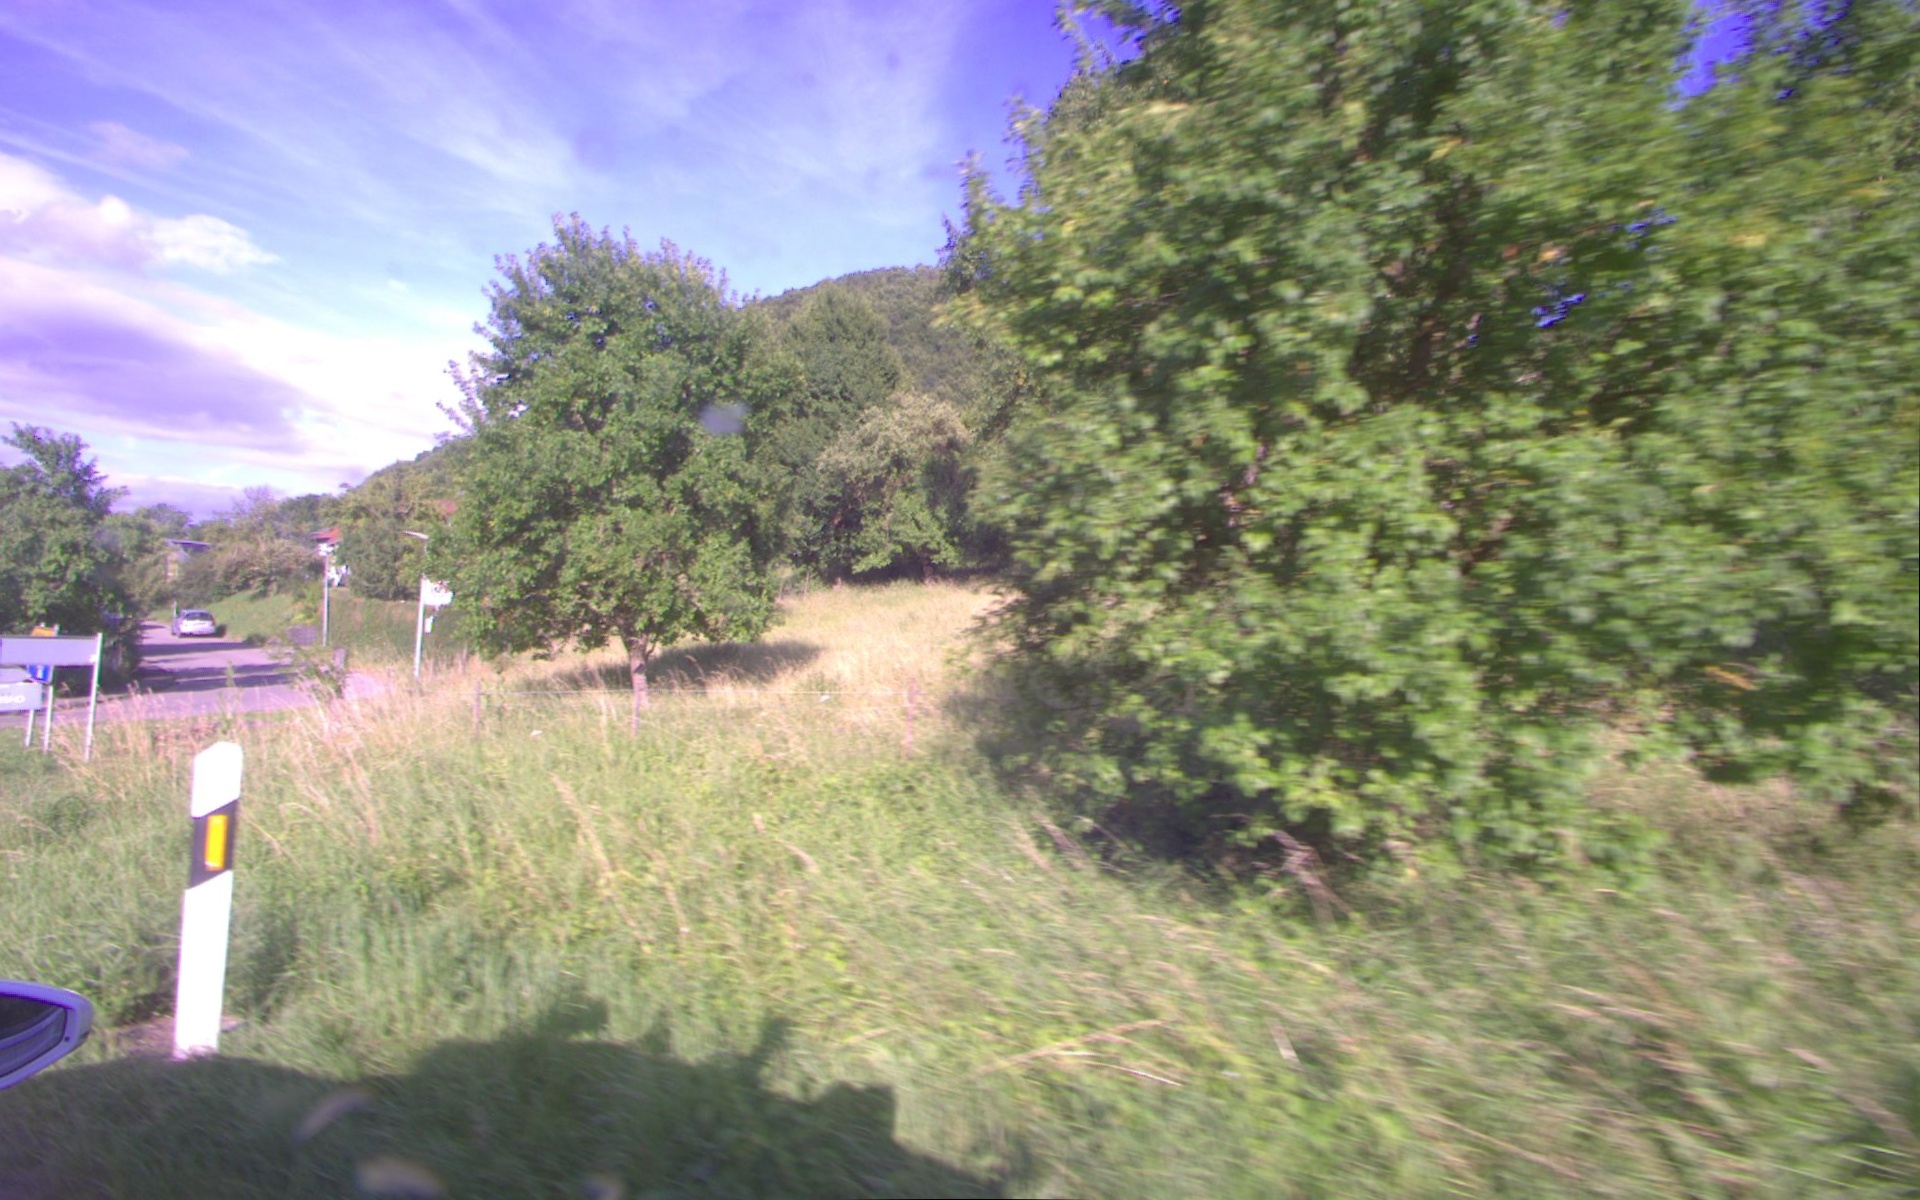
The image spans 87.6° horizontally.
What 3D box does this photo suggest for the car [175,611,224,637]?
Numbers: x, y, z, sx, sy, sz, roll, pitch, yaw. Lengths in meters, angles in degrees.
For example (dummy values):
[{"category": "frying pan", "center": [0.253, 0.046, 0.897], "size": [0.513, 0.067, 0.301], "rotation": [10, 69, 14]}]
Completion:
[{"category": "car", "center": [-44.619, 1.434, 58.713], "size": [1.980, 1.482, 3.964], "rotation": [1, -2, -42]}]
